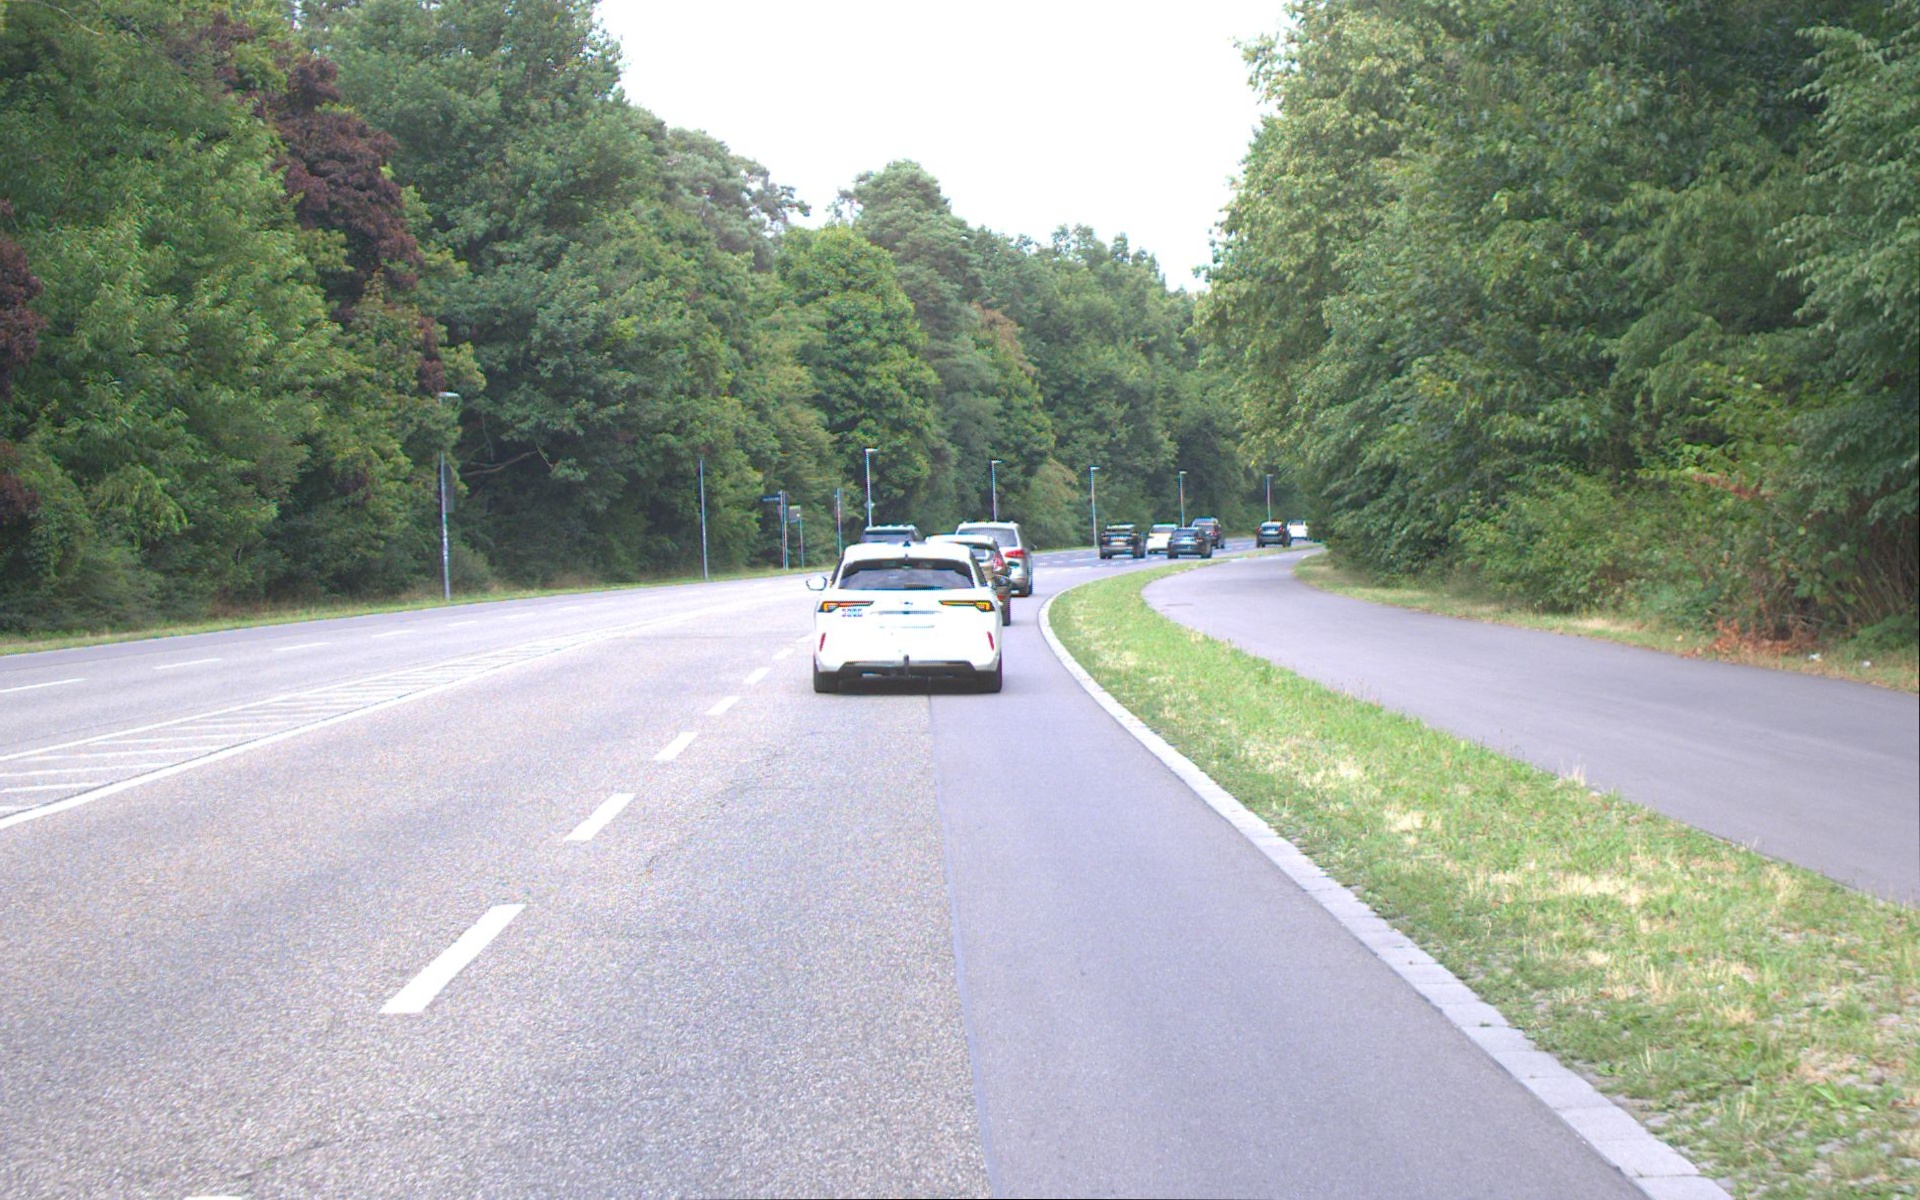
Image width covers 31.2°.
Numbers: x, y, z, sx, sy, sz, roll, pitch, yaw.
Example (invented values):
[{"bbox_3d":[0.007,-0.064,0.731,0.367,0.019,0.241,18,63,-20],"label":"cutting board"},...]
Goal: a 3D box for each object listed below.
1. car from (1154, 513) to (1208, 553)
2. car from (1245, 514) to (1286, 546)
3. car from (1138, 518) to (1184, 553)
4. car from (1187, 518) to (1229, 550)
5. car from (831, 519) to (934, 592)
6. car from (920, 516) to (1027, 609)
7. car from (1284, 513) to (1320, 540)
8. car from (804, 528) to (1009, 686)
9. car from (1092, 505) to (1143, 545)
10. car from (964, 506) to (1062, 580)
[{"bbox_3d":[10.379,-3.125,161.044,1.994,1.777,3.998,1,0,11],"label":"car"},{"bbox_3d":[18.358,-4.201,206.243,1.994,1.777,3.998,1,0,11],"label":"car"},{"bbox_3d":[10.632,-3.395,181.233,1.994,1.777,3.998,1,0,9],"label":"car"},{"bbox_3d":[14.423,-3.833,199.444,1.994,1.777,3.998,1,0,10],"label":"car"},{"bbox_3d":[-1.950,-1.115,87.819,1.994,1.780,3.999,1,0,7],"label":"car"},{"bbox_3d":[0.189,-0.599,55.774,1.635,1.415,4.000,1,0,-1],"label":"car"},{"bbox_3d":[24.480,-5.250,246.210,1.889,1.809,3.997,1,0,15],"label":"car"},{"bbox_3d":[-0.590,0.043,33.536,1.836,1.405,4.491,1,0,-3],"label":"car"},{"bbox_3d":[7.474,-3.557,162.981,1.994,1.777,3.999,1,0,8],"label":"car"},{"bbox_3d":[1.236,-1.284,78.359,1.994,1.601,3.999,1,0,4],"label":"car"}]
